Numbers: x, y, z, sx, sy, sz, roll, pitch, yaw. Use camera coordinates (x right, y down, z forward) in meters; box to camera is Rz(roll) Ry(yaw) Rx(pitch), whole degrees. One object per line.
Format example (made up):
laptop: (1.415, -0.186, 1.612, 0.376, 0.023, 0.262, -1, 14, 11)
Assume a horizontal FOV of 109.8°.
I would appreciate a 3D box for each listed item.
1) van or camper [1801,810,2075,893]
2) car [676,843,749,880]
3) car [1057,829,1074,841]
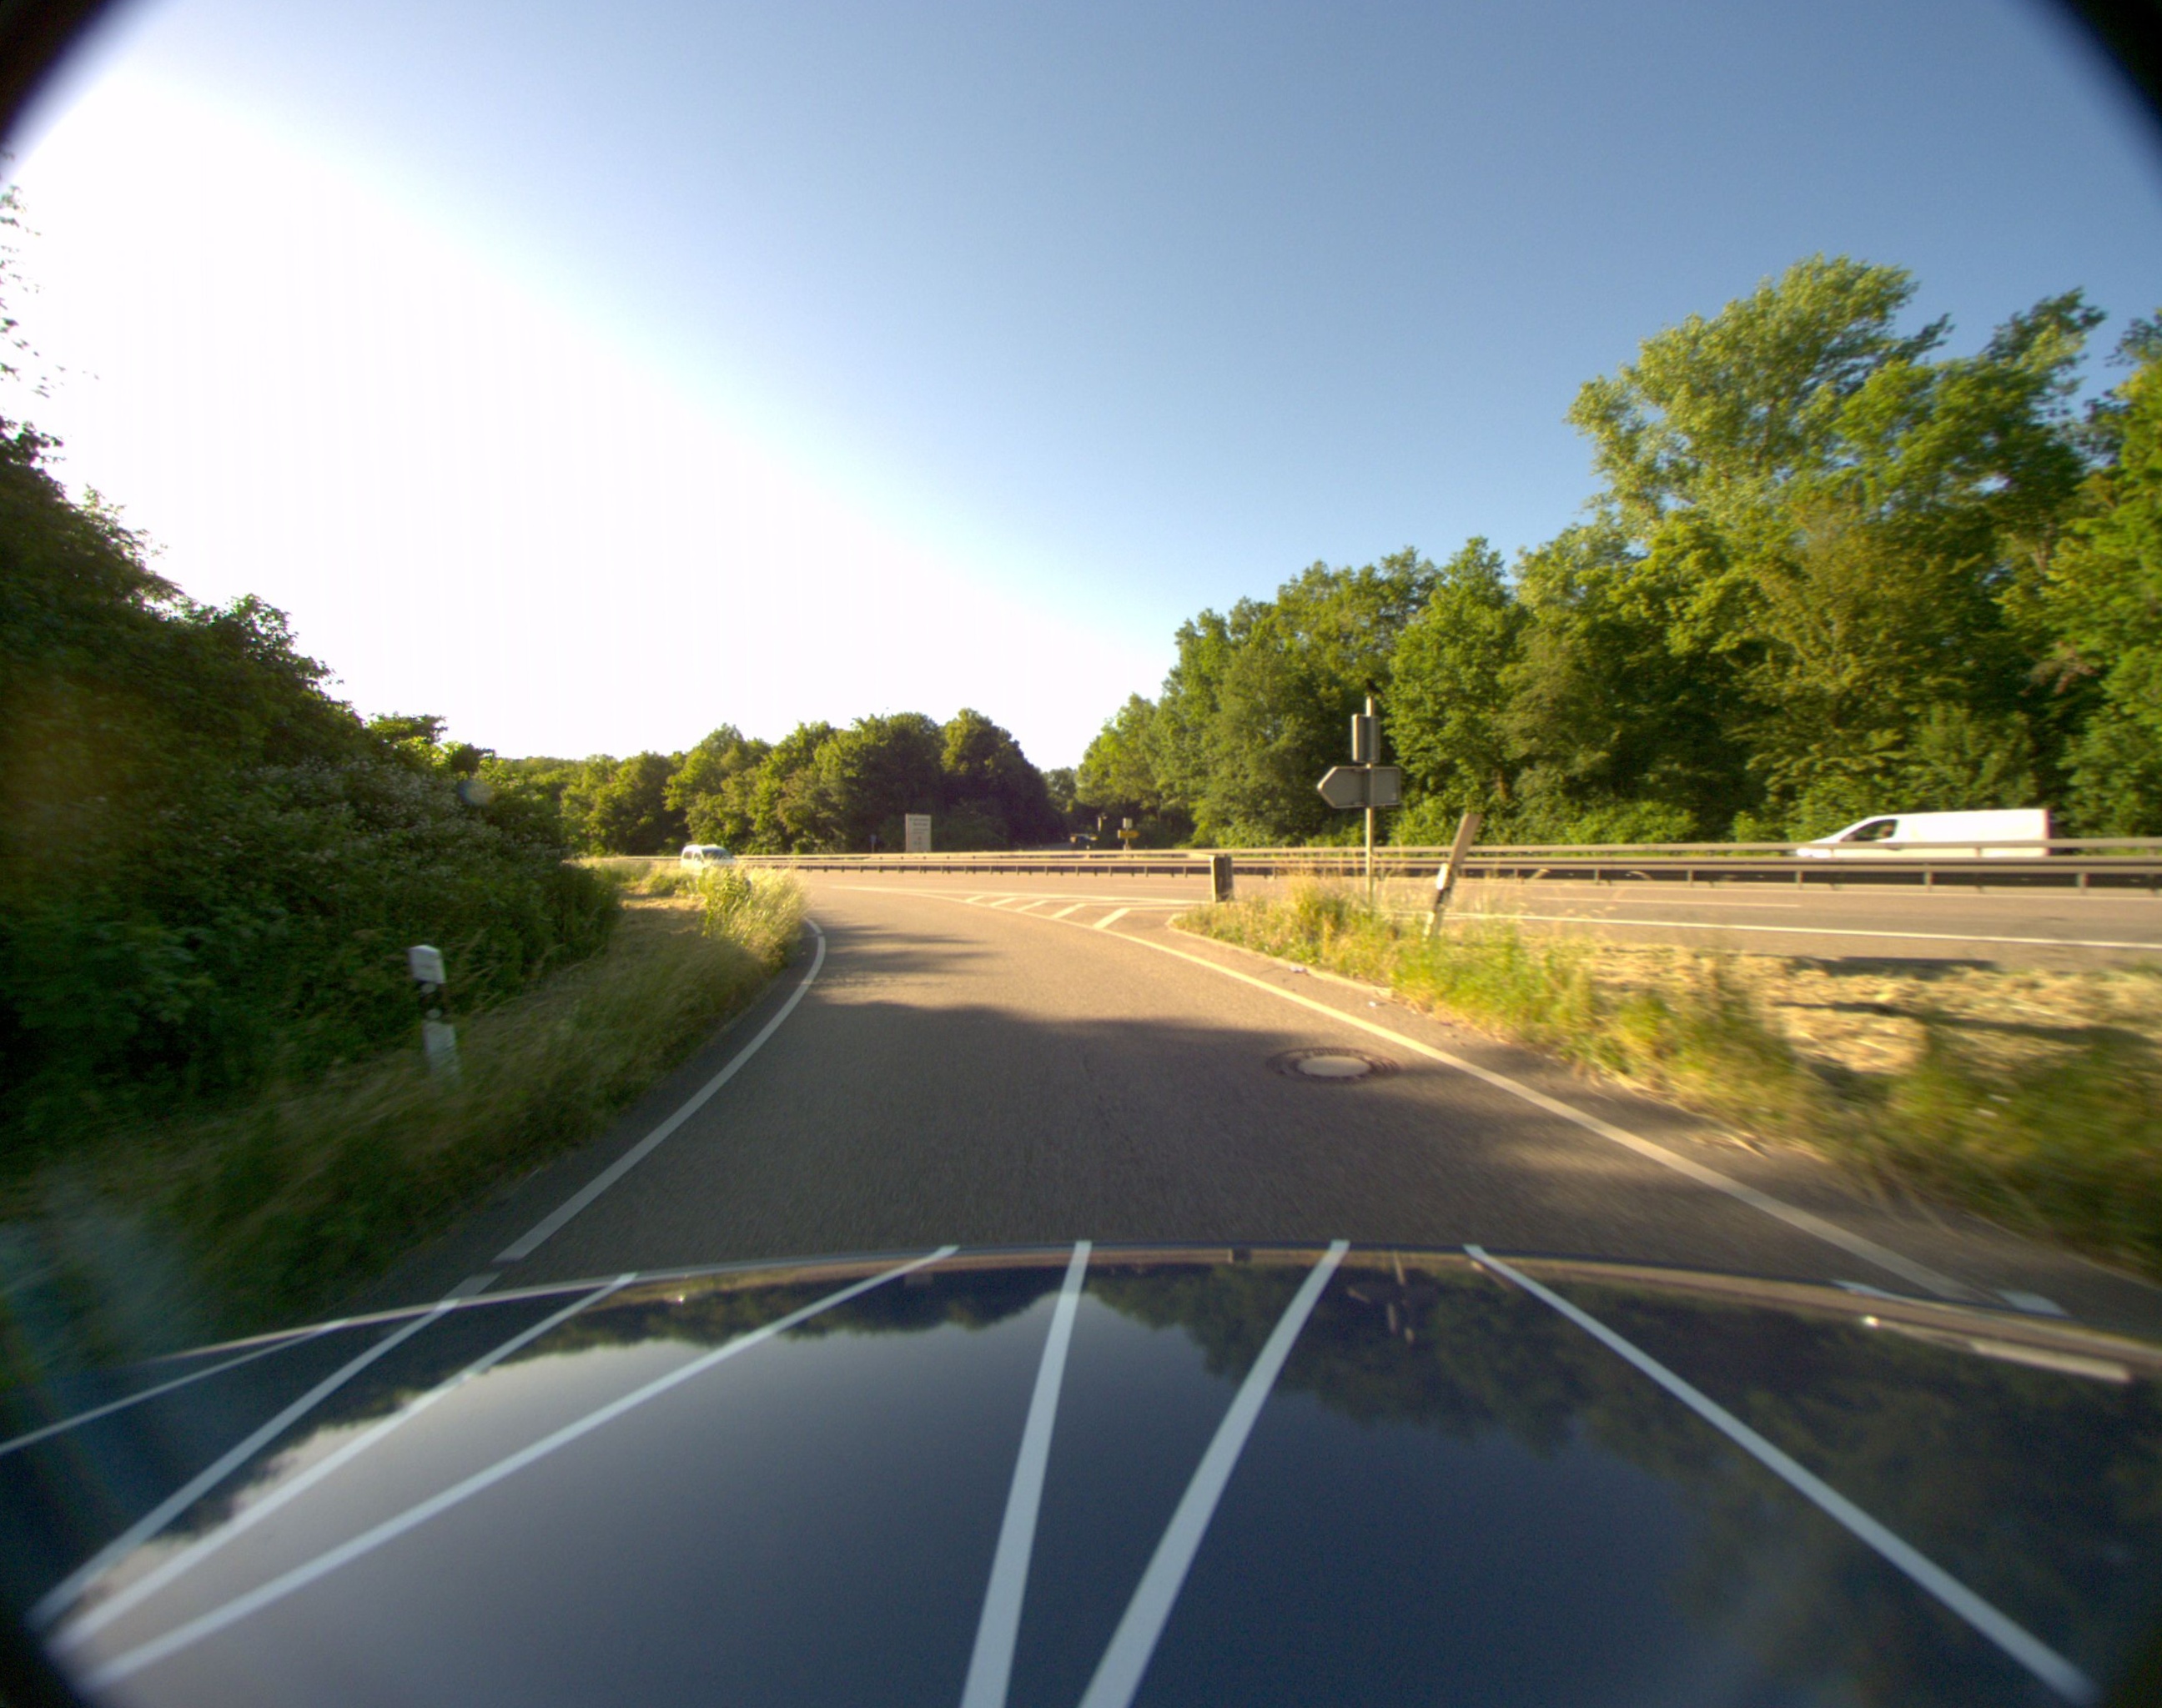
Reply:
van or camper: (23.130, -0.097, 20.836, 2.084, 2.002, 4.804, -2, 2, -43)
car: (-19.911, 0.362, 40.980, 4.818, 1.797, 1.804, 2, 4, 43)
car: (-2.505, -3.097, 125.144, 1.997, 1.850, 4.666, 0, 3, 8)
